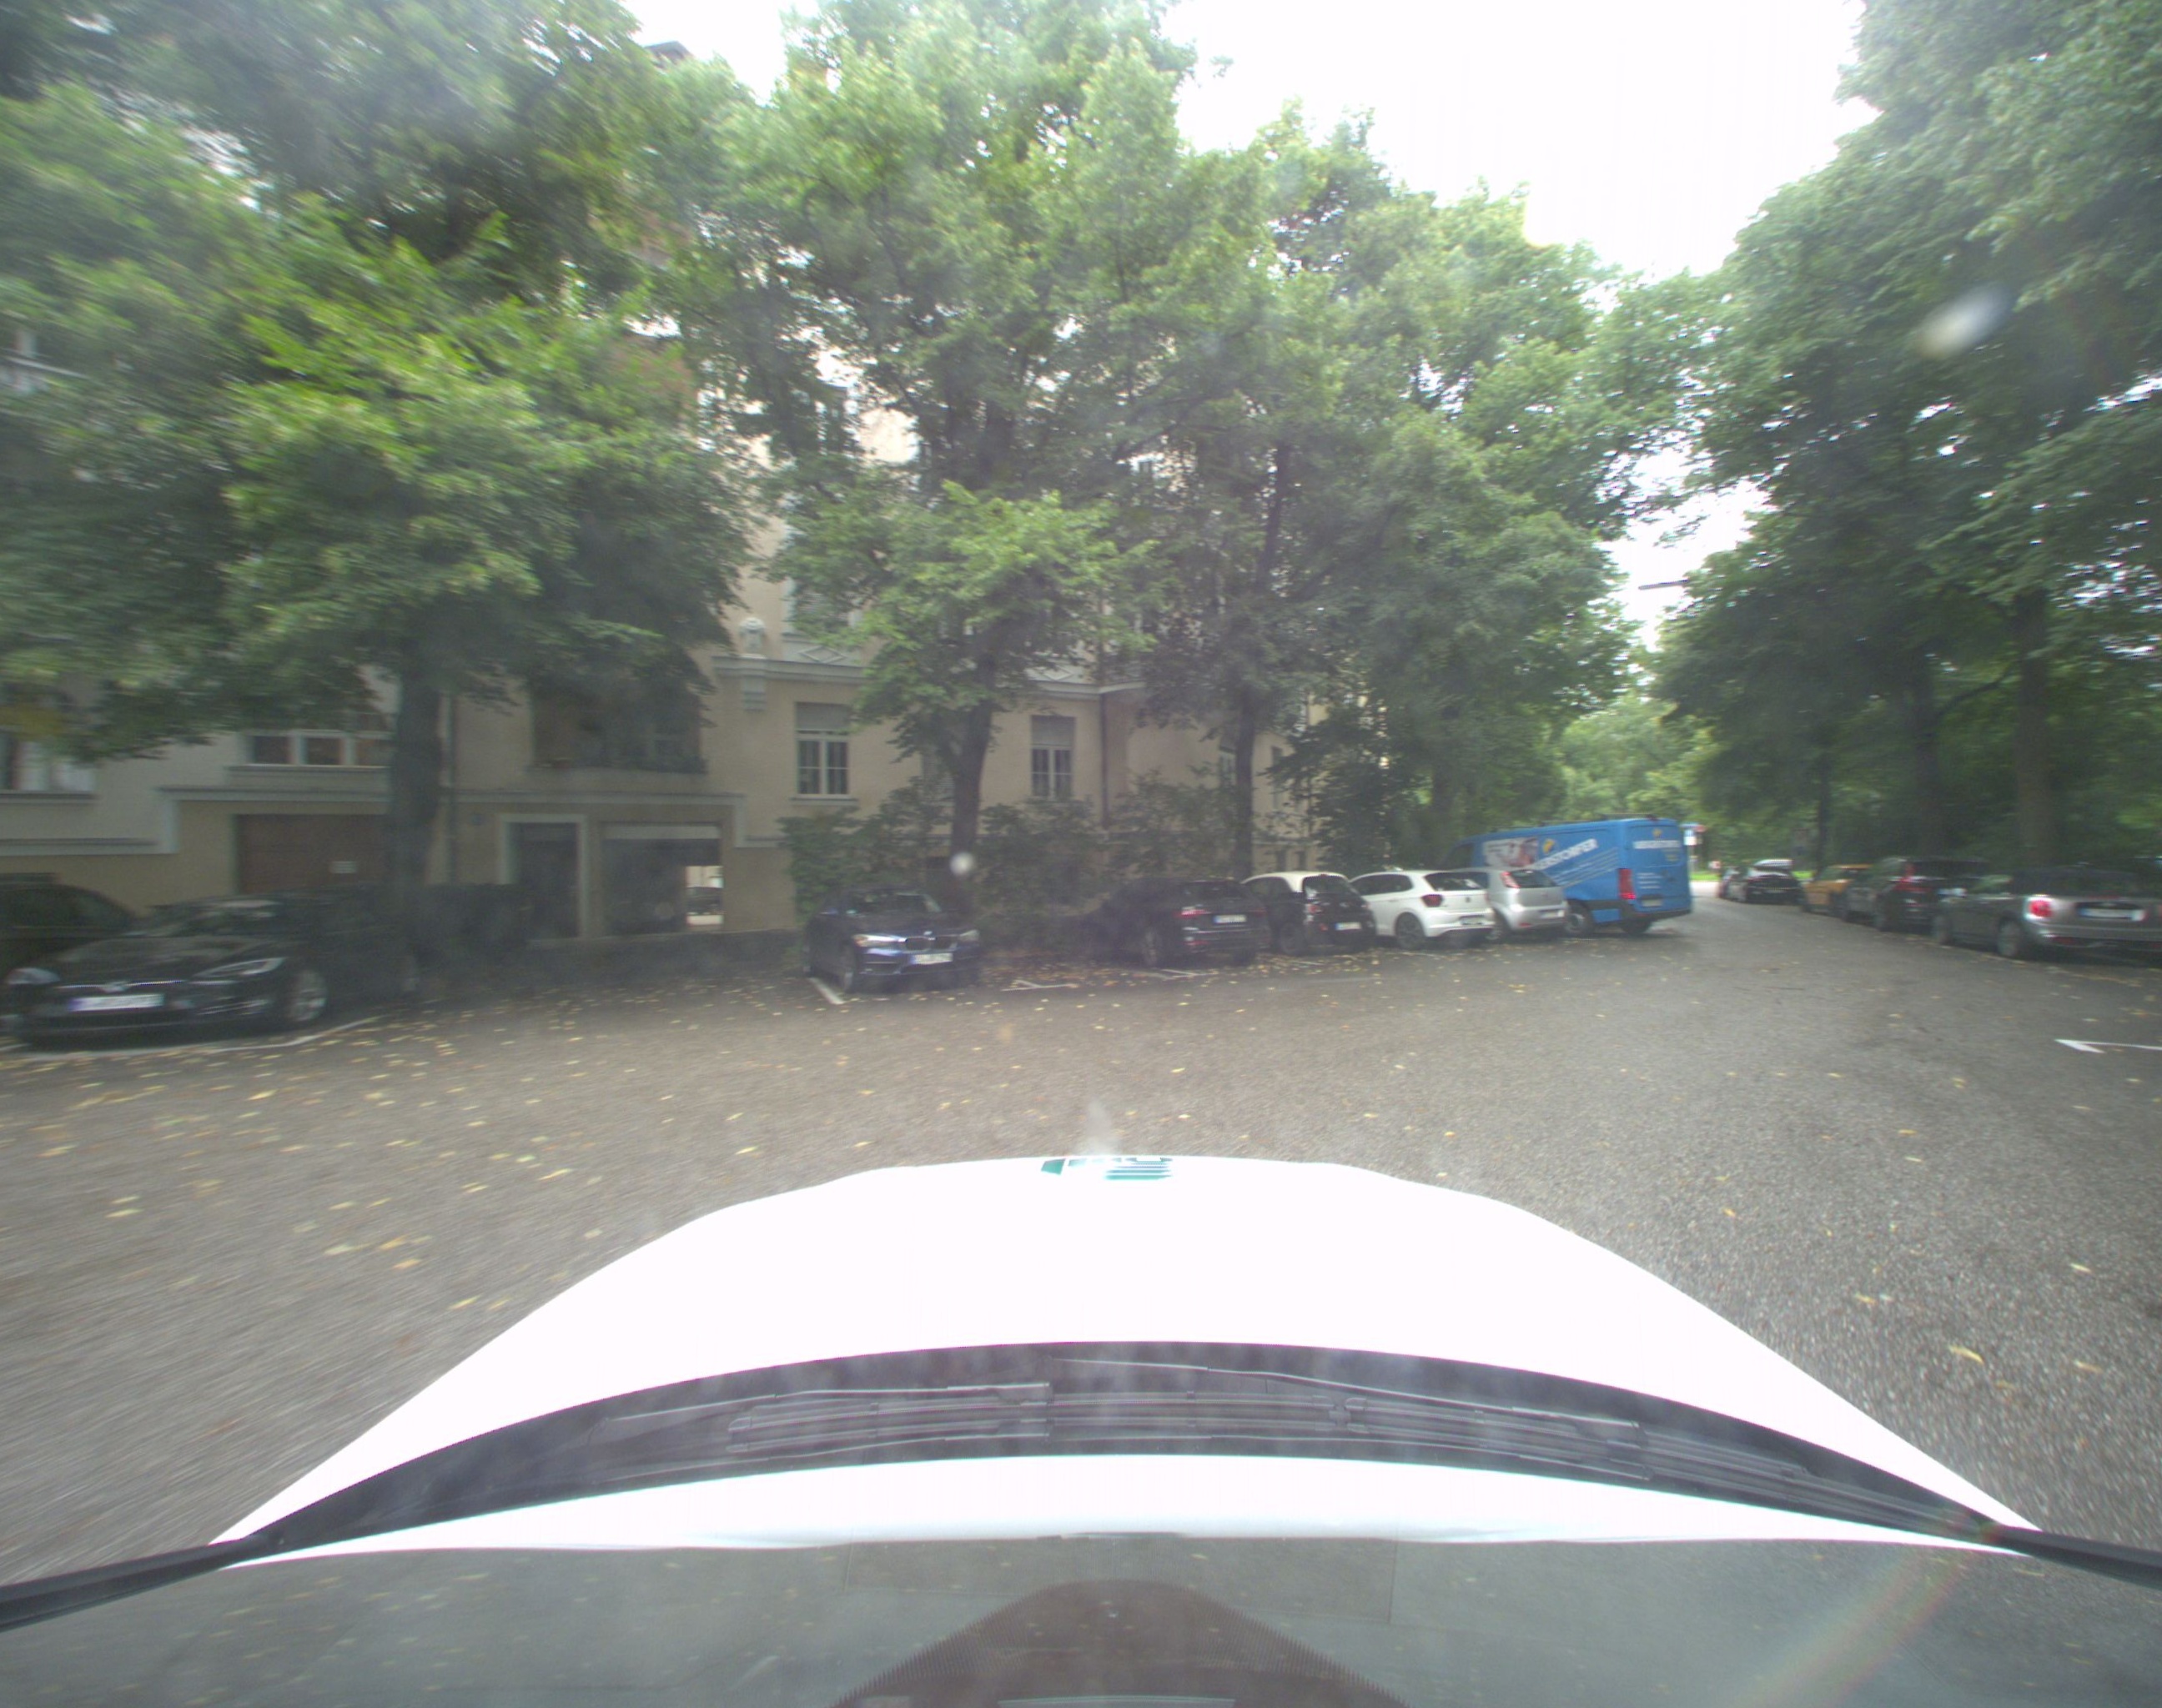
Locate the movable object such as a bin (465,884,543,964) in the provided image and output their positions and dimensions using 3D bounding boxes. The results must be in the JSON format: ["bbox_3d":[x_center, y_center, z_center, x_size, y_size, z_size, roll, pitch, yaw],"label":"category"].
[{"bbox_3d":[-10.086,1.196,14.300,0.867,1.305,1.419,2,-2,-27],"label":"movable object such as a bin"}]

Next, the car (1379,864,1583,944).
[{"bbox_3d":[8.038,0.992,16.700,1.645,1.433,3.526,0,-3,-22],"label":"car"}]

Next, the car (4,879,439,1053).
[{"bbox_3d":[-9.087,1.078,9.203,1.711,1.467,4.255,1,-4,-22],"label":"car"}]

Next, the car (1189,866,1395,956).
[{"bbox_3d":[3.798,1.097,15.373,1.835,1.426,3.720,-1,-5,-23],"label":"car"}]

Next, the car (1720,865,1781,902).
[{"bbox_3d":[28.488,1.205,34.734,1.631,1.474,3.666,-1,-1,34],"label":"car"}]

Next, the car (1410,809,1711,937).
[{"bbox_3d":[10.104,0.508,17.847,2.067,2.355,5.452,0,-4,-23],"label":"car"}]

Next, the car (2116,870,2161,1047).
[{"bbox_3d":[10.177,0.783,5.200,4.046,1.394,1.744,-1,-1,24],"label":"car"}]

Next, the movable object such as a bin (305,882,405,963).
[{"bbox_3d":[-12.920,1.183,14.536,1.124,1.348,0.856,0,-1,-27],"label":"movable object such as a bin"}]

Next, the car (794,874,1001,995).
[{"bbox_3d":[-2.871,1.041,11.922,1.850,1.383,4.302,-1,-2,-29],"label":"car"}]

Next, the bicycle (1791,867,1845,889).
[{"bbox_3d":[32.541,1.064,35.986,1.735,0.982,0.275,-2,-2,41],"label":"bicycle"}]

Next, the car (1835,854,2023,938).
[{"bbox_3d":[18.655,0.835,18.188,1.814,1.629,4.554,-1,-1,32],"label":"car"}]

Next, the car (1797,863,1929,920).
[{"bbox_3d":[21.383,0.957,22.444,1.603,1.412,3.803,-1,-1,28],"label":"car"}]

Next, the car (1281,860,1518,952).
[{"bbox_3d":[6.051,1.063,16.089,1.806,1.514,4.250,-1,-5,-24],"label":"car"}]

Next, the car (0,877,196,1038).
[{"bbox_3d":[-12.096,1.039,9.105,1.850,1.530,3.986,0,-1,-30],"label":"car"}]

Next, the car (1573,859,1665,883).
[{"bbox_3d":[34.229,1.073,51.881,4.755,1.496,1.854,-1,-1,37],"label":"car"}]

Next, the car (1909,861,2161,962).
[{"bbox_3d":[16.090,0.873,13.721,1.880,1.413,4.457,-3,-2,31],"label":"car"}]

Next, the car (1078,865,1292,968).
[{"bbox_3d":[1.555,1.025,13.884,1.864,1.426,4.133,-1,-3,-21],"label":"car"}]

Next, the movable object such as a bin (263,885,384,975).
[{"bbox_3d":[-12.396,1.200,13.389,1.156,1.348,1.146,0,-1,-27],"label":"movable object such as a bin"}]

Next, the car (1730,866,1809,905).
[{"bbox_3d":[26.206,1.158,31.110,1.665,1.358,4.034,0,-1,31],"label":"car"}]

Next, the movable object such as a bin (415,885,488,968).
[{"bbox_3d":[-11.018,1.233,14.299,0.716,1.348,1.362,0,-1,-25],"label":"movable object such as a bin"}]

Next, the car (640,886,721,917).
[{"bbox_3d":[-21.721,2.545,44.232,3.869,1.518,1.640,0,-1,-30],"label":"car"}]
